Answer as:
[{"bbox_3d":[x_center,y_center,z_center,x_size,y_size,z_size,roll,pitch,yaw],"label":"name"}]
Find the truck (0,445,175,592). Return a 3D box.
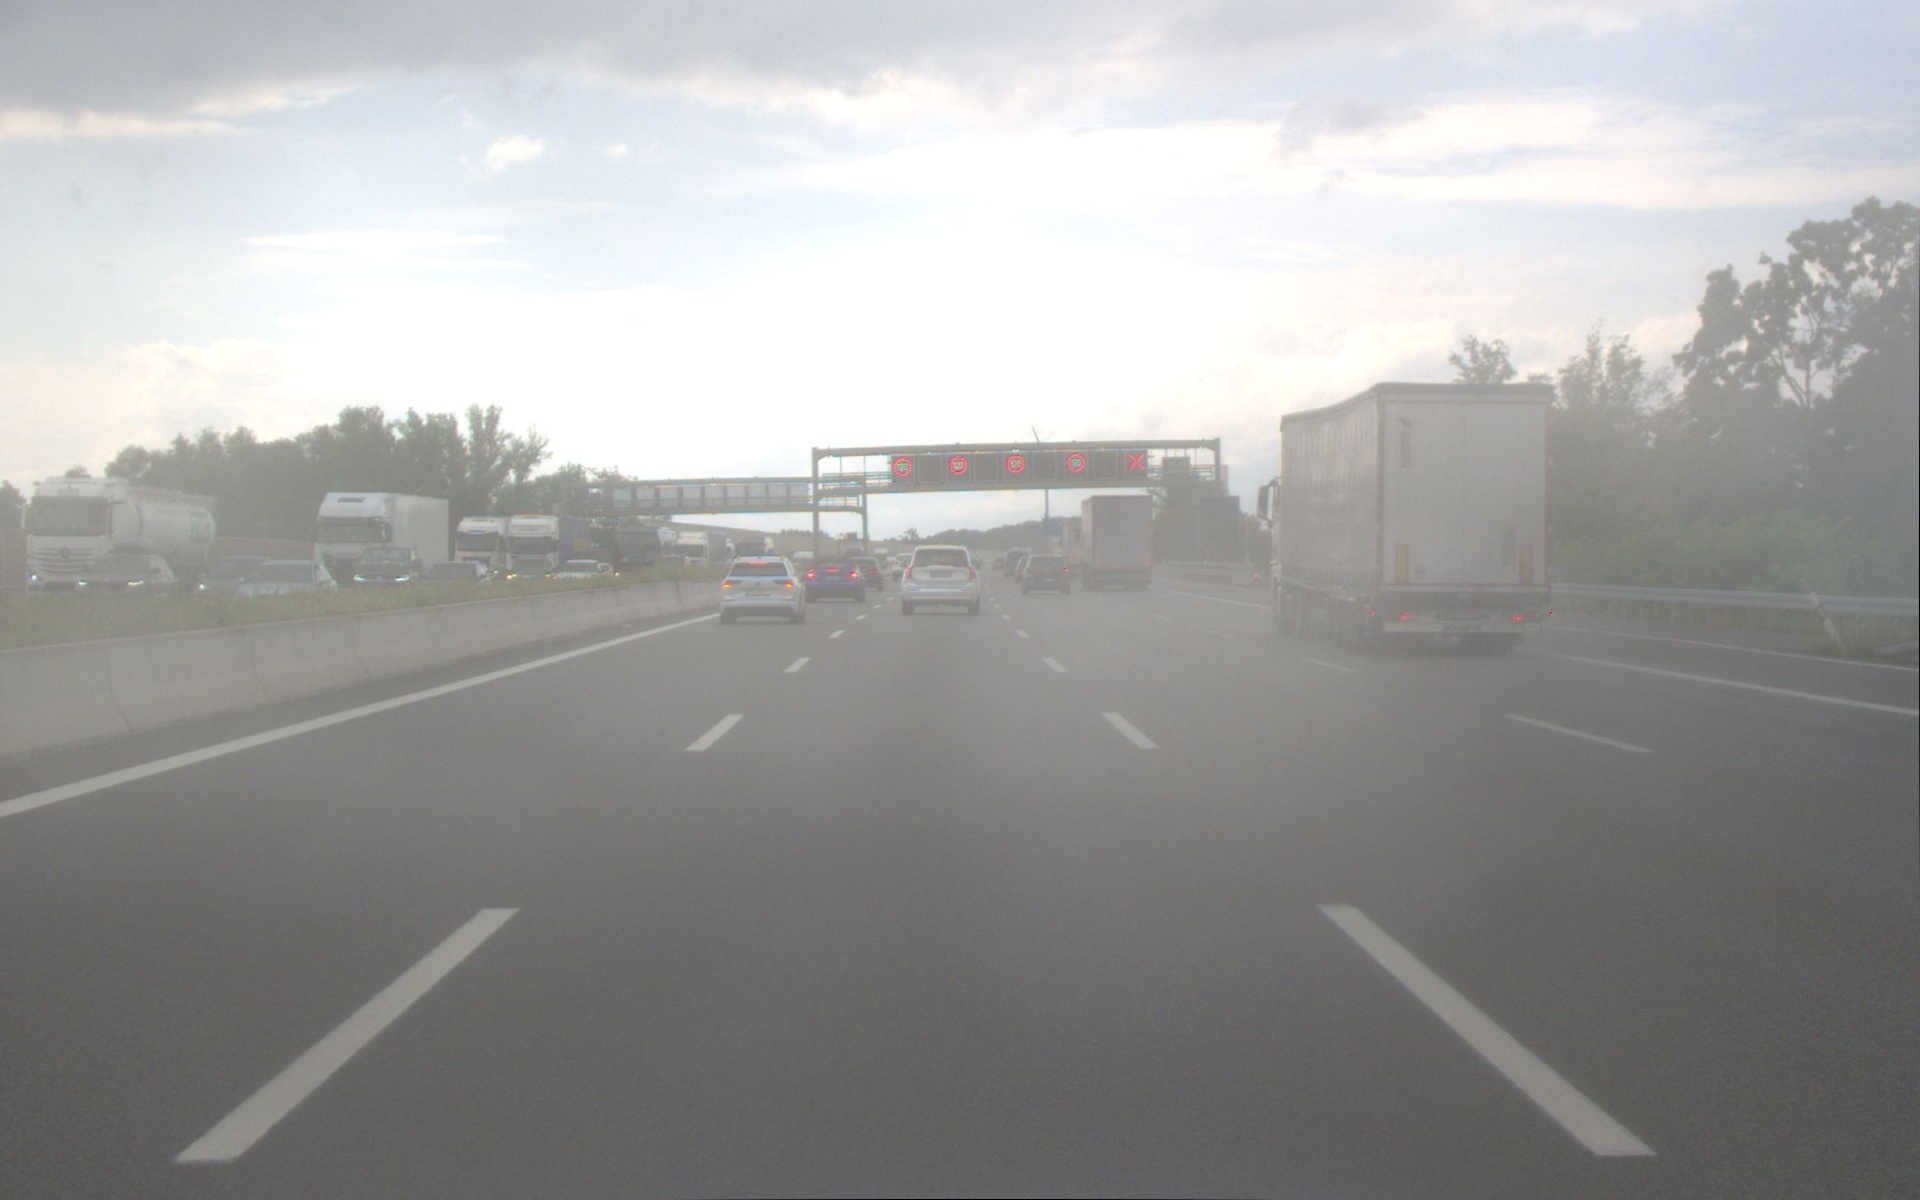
[{"bbox_3d":[-27.036,-2.483,106.385,3.660,4.304,8.238,1,1,-1],"label":"truck"}]

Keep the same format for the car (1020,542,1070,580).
[{"bbox_3d":[3.229,-1.509,131.660,1.836,1.436,4.055,0,1,0],"label":"car"}]

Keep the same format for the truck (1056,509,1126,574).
[{"bbox_3d":[8.684,-3.843,228.919,4.244,4.162,11.989,1,1,0],"label":"truck"}]

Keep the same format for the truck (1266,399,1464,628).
[{"bbox_3d":[7.398,-1.584,63.635,2.961,4.006,6.589,0,1,1],"label":"truck"}]

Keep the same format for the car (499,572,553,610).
[{"bbox_3d":[-18.530,-0.382,146.925,1.787,1.557,4.565,1,1,-1],"label":"car"}]

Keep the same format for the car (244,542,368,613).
[{"bbox_3d":[-14.415,-0.520,75.999,1.993,1.521,4.741,0,1,-2],"label":"car"}]

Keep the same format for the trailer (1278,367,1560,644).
[{"bbox_3d":[7.300,-1.497,56.843,2.961,4.006,14.118,0,1,1],"label":"trailer"}]

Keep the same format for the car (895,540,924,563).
[{"bbox_3d":[-3.167,-3.054,216.160,1.772,1.436,4.055,0,1,0],"label":"car"}]

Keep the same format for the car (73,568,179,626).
[{"bbox_3d":[-21.958,-0.093,90.670,1.787,1.464,4.565,1,1,-1],"label":"car"}]

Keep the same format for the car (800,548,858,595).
[{"bbox_3d":[-4.156,-0.923,109.616,1.772,1.436,4.056,0,1,-1],"label":"car"}]

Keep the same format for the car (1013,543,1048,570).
[{"bbox_3d":[3.819,-2.356,186.315,1.836,1.436,4.055,0,1,0],"label":"car"}]

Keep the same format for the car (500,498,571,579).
[{"bbox_3d":[-22.071,-3.180,178.946,2.982,4.135,6.043,1,1,-1],"label":"car"}]

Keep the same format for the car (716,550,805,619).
[{"bbox_3d":[-4.326,-0.359,74.949,1.772,1.436,3.874,0,1,-1],"label":"car"}]

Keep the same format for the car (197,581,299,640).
[{"bbox_3d":[-18.480,0.249,89.413,1.787,1.449,4.565,1,1,-1],"label":"car"}]

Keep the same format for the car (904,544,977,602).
[{"bbox_3d":[-0.520,-0.698,86.737,1.772,1.436,4.056,0,1,-1],"label":"car"}]

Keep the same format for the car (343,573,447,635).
[{"bbox_3d":[-18.628,0.102,113.690,2.280,1.961,6.086,1,1,1],"label":"car"}]

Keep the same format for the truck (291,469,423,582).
[{"bbox_3d":[-22.315,-2.725,127.503,3.660,4.034,6.524,1,1,0],"label":"truck"}]

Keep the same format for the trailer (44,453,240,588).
[{"bbox_3d":[-27.122,-2.592,114.729,3.660,4.222,12.468,1,1,-1],"label":"trailer"}]

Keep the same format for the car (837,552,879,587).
[{"bbox_3d":[-4.337,-1.294,145.941,1.772,1.436,4.056,0,1,-2],"label":"car"}]

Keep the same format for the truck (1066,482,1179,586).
[{"bbox_3d":[6.968,-2.843,149.693,4.180,4.273,12.613,1,1,0],"label":"truck"}]

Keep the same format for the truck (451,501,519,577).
[{"bbox_3d":[-26.340,-3.362,190.808,2.900,4.102,6.623,1,1,-1],"label":"truck"}]

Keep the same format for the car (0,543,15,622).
[{"bbox_3d":[-18.628,-0.311,61.889,1.965,1.449,4.944,1,1,-1],"label":"car"}]
